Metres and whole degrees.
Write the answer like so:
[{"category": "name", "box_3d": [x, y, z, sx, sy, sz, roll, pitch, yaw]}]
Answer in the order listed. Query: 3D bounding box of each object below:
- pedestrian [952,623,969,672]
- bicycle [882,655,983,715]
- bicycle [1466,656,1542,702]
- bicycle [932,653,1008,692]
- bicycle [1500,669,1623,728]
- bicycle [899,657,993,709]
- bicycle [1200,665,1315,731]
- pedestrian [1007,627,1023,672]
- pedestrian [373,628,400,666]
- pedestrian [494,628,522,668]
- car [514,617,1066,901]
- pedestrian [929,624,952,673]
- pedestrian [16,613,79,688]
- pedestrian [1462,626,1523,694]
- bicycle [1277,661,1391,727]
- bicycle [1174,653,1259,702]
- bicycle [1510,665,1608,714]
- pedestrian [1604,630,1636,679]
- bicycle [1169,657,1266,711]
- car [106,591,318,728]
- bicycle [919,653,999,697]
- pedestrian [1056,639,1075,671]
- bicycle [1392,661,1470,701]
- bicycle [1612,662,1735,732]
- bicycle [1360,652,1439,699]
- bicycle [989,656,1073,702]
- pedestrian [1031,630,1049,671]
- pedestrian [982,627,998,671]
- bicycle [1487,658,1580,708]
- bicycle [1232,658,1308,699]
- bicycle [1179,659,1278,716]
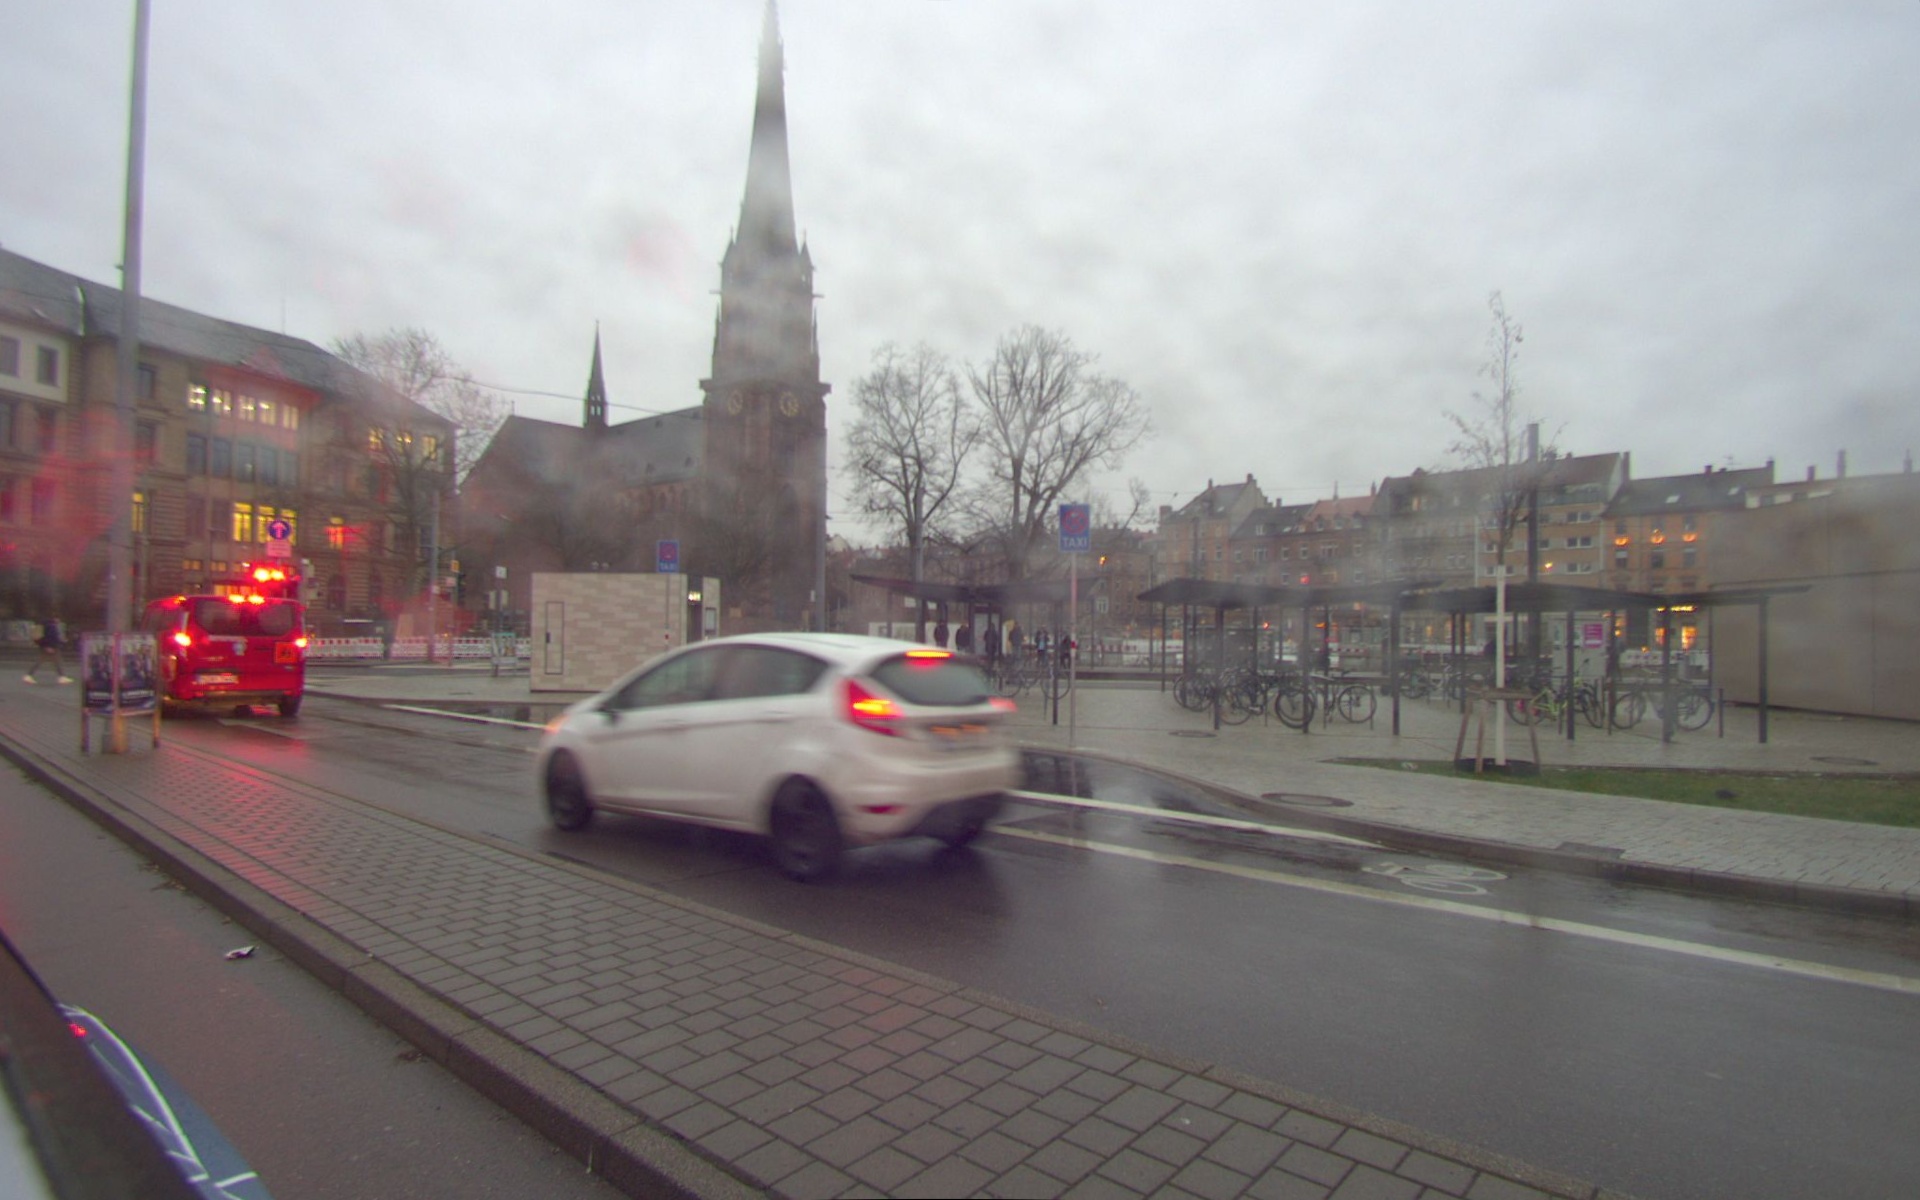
[{"category": "pedestrian", "box_3d": [0.007, 1.802, 38.568, 0.619, 1.808, 0.672, -1, 0, -1]}, {"category": "bicycle", "box_3d": [-0.537, 1.653, 19.857, 1.905, 1.078, 0.473, 1, -1, 11]}, {"category": "bicycle", "box_3d": [13.234, 1.916, 24.653, 1.551, 1.044, 0.521, 1, -1, 1]}, {"category": "bicycle", "box_3d": [0.273, 1.868, 26.116, 1.905, 0.917, 0.473, 1, -1, 11]}, {"category": "bicycle", "box_3d": [11.127, 1.813, 18.773, 1.905, 0.983, 0.473, 1, -1, 11]}, {"category": "bicycle", "box_3d": [-0.286, 1.723, 21.095, 1.905, 0.993, 0.473, 1, -1, 11]}, {"category": "bicycle", "box_3d": [5.257, 1.720, 17.946, 1.905, 1.078, 0.473, 1, -1, 11]}, {"category": "pedestrian", "box_3d": [2.071, 1.856, 38.104, 0.543, 1.648, 0.571, -1, 0, -1]}, {"category": "pedestrian", "box_3d": [-28.607, 2.331, 50.454, 0.888, 1.830, 0.672, 1, -2, 10]}, {"category": "pedestrian", "box_3d": [-21.790, 2.317, 48.760, 0.961, 1.915, 0.673, 1, -2, 5]}, {"category": "car", "box_3d": [-1.304, 0.904, 7.107, 3.708, 1.459, 1.723, 0, -4, 38]}, {"category": "pedestrian", "box_3d": [-0.748, 1.812, 38.278, 0.659, 1.808, 0.829, -1, 0, -14]}, {"category": "pedestrian", "box_3d": [-24.088, 1.323, 26.725, 0.671, 1.915, 0.990, 0, -3, 29]}, {"category": "pedestrian", "box_3d": [14.237, 1.605, 27.067, 1.052, 1.778, 1.011, 0, -3, 0]}, {"category": "bicycle", "box_3d": [6.946, 1.734, 18.856, 1.905, 1.129, 0.473, 1, -1, 11]}, {"category": "bicycle", "box_3d": [6.065, 1.829, 24.030, 1.905, 1.078, 0.473, 1, -1, 11]}, {"category": "bicycle", "box_3d": [12.902, 1.919, 21.820, 1.751, 0.963, 0.473, 1, -1, 11]}, {"category": "pedestrian", "box_3d": [22.860, 1.888, 35.062, 0.691, 1.679, 0.528, 0, -3, -1]}, {"category": "bicycle", "box_3d": [5.432, 1.773, 21.391, 1.899, 1.078, 0.474, 1, -1, 2]}, {"category": "car", "box_3d": [-13.184, 0.994, 17.742, 4.640, 2.086, 1.904, -1, -4, 40]}, {"category": "bicycle", "box_3d": [-0.013, 1.829, 24.859, 1.905, 0.993, 0.473, 1, -1, 11]}, {"category": "pedestrian", "box_3d": [3.983, 2.072, 38.314, 0.610, 1.165, 0.806, -1, 0, -1]}, {"category": "bicycle", "box_3d": [11.623, 1.991, 24.981, 1.672, 0.898, 0.474, 1, -1, 5]}, {"category": "bicycle", "box_3d": [12.690, 1.724, 18.035, 1.731, 1.165, 0.617, 1, -1, 2]}, {"category": "bicycle", "box_3d": [11.186, 1.924, 25.791, 1.780, 1.116, 0.473, 1, -1, 11]}, {"category": "bicycle", "box_3d": [1.641, 1.821, 23.413, 1.905, 0.993, 0.473, 1, -1, 11]}, {"category": "pedestrian", "box_3d": [3.037, 1.911, 38.322, 0.580, 1.513, 0.675, -1, 0, -1]}, {"category": "pedestrian", "box_3d": [1.151, 1.859, 38.642, 0.556, 1.664, 0.540, -1, 0, -1]}, {"category": "bicycle", "box_3d": [13.254, 1.908, 23.406, 1.810, 1.081, 0.474, 1, -1, 8]}, {"category": "bicycle", "box_3d": [7.664, 1.941, 25.060, 1.729, 0.946, 0.474, 1, -1, 7]}, {"category": "bicycle", "box_3d": [5.446, 1.774, 20.607, 1.905, 1.078, 0.473, 1, -1, 11]}]
